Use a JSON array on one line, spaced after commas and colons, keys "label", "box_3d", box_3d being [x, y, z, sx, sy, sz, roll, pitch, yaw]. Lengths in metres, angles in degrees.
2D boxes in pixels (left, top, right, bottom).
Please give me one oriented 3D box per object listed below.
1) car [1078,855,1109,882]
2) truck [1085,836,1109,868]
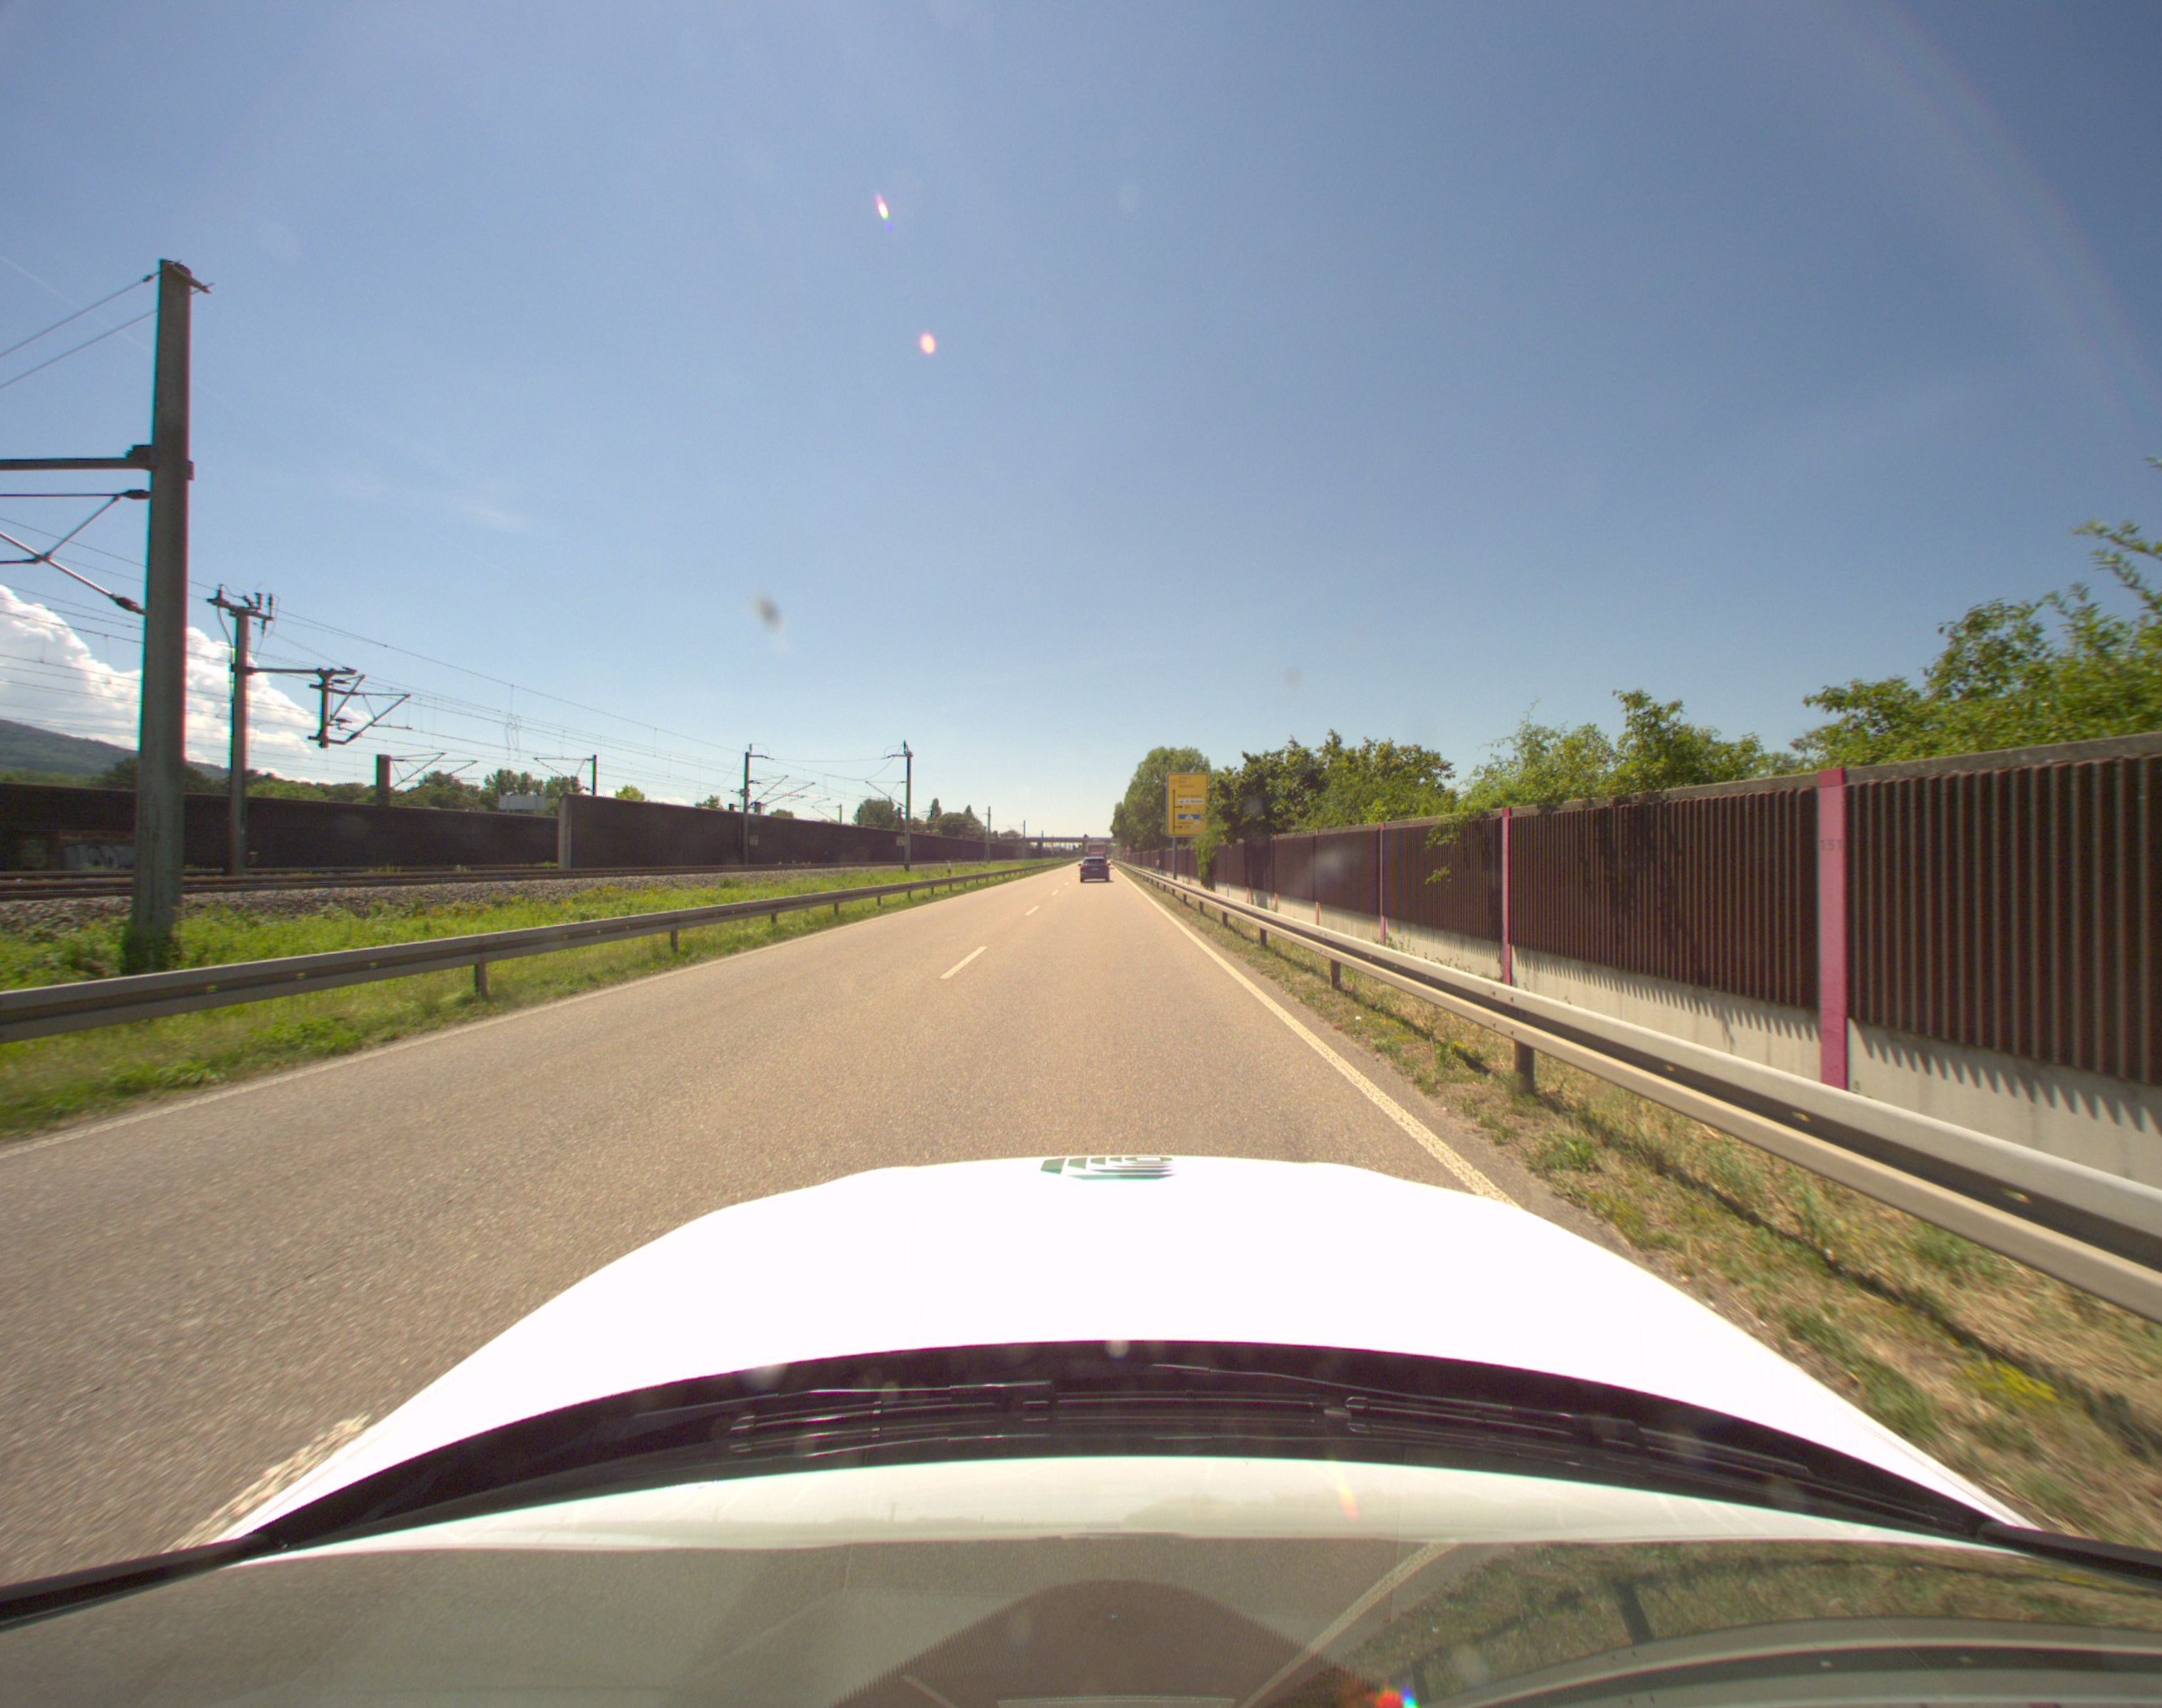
[{"label": "car", "box_3d": [0.776, 0.881, 50.785, 1.839, 1.623, 4.225, -1, 0, 0]}, {"label": "truck", "box_3d": [2.031, -0.251, 104.003, 2.823, 3.821, 11.886, -1, 0, 1]}]
